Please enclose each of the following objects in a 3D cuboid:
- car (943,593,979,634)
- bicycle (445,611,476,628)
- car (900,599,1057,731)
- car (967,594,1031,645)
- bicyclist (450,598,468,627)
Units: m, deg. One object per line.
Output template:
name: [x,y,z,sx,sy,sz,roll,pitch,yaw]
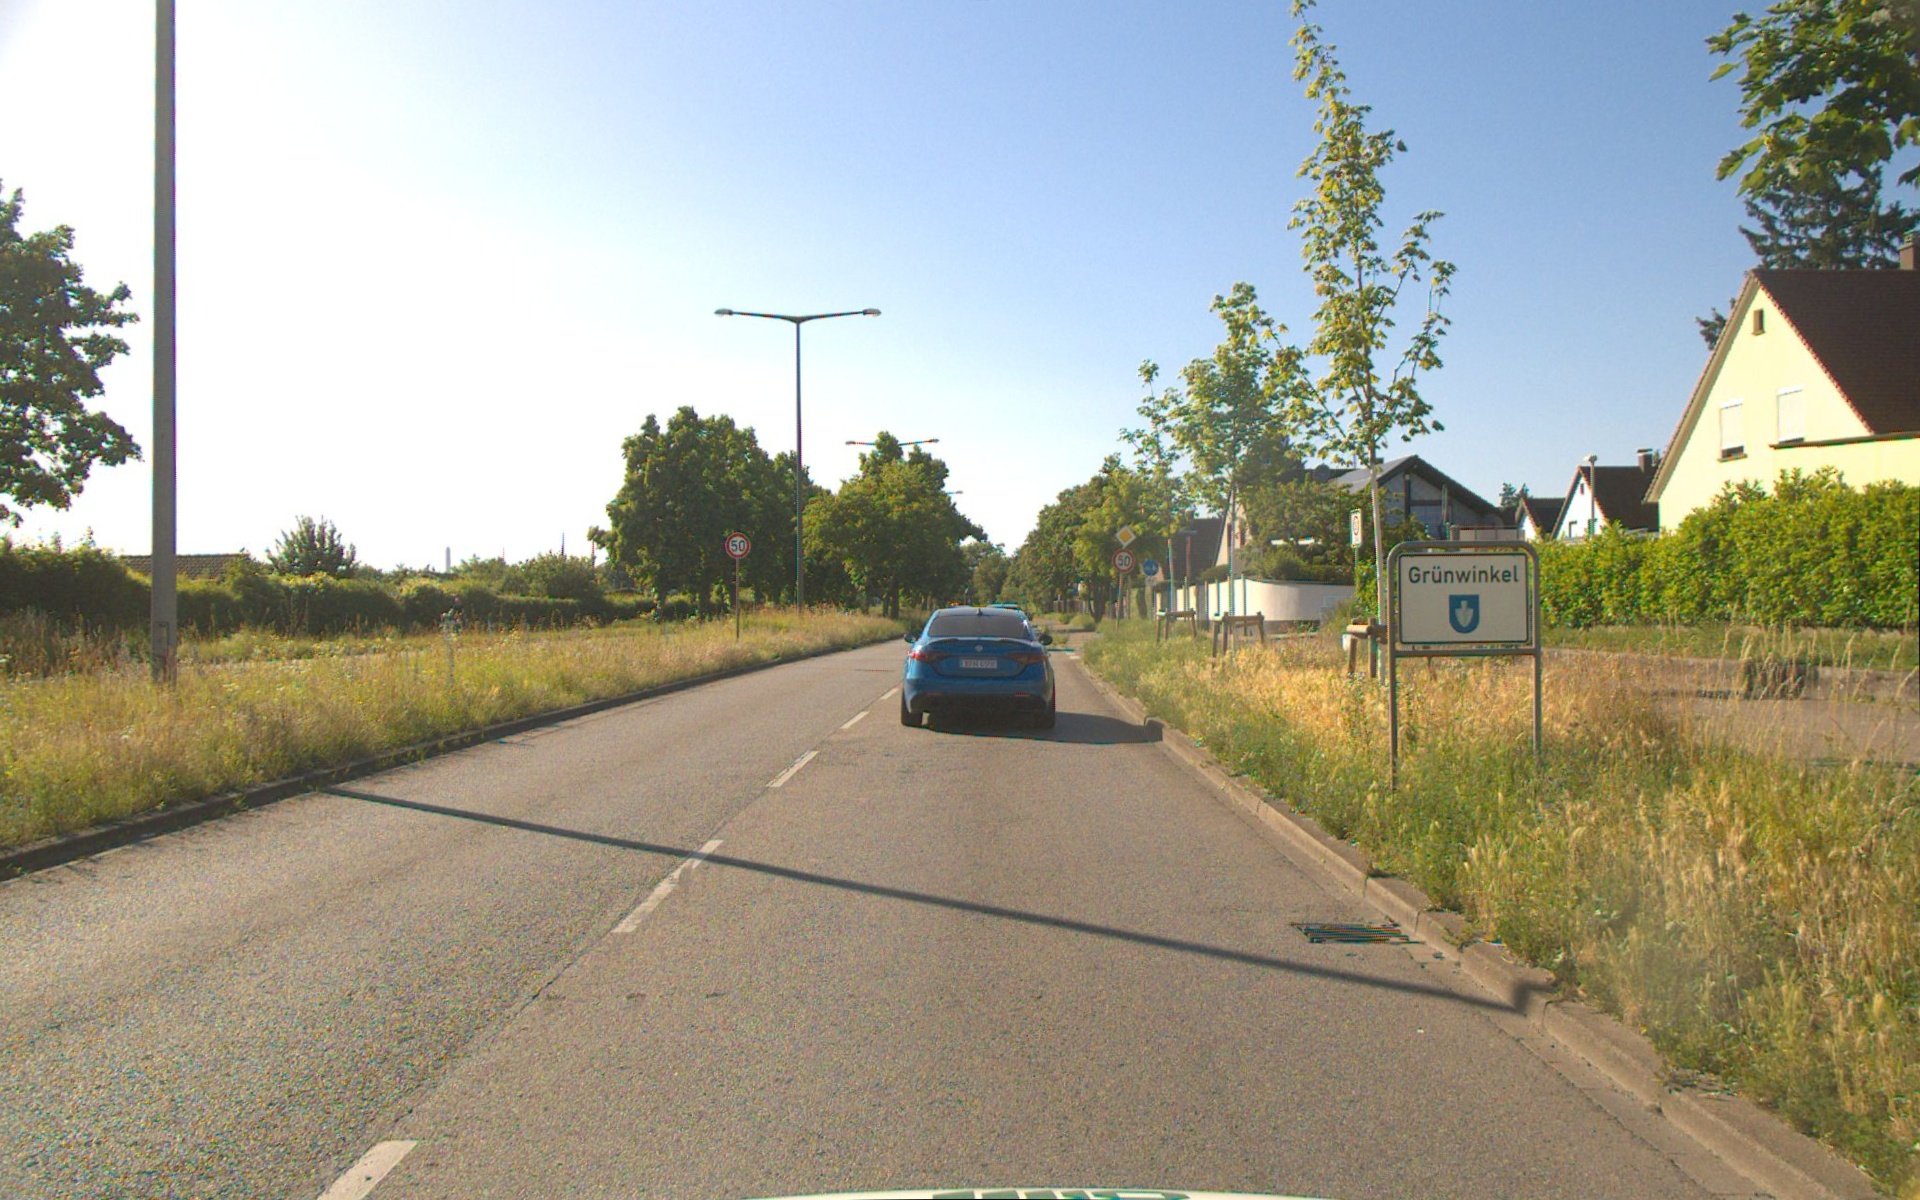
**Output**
car: [0.078,0.681,83.914,1.755,2.049,4.001,0,0,1]
bicycle: [-21.947,0.851,72.703,0.553,0.707,1.876,0,0,9]
car: [0.266,0.758,21.165,1.800,1.500,4.185,0,0,1]
car: [1.257,0.621,54.605,1.877,1.607,4.180,0,0,-2]
bicyclist: [-21.975,0.543,72.573,0.570,1.279,0.576,0,-1,9]
